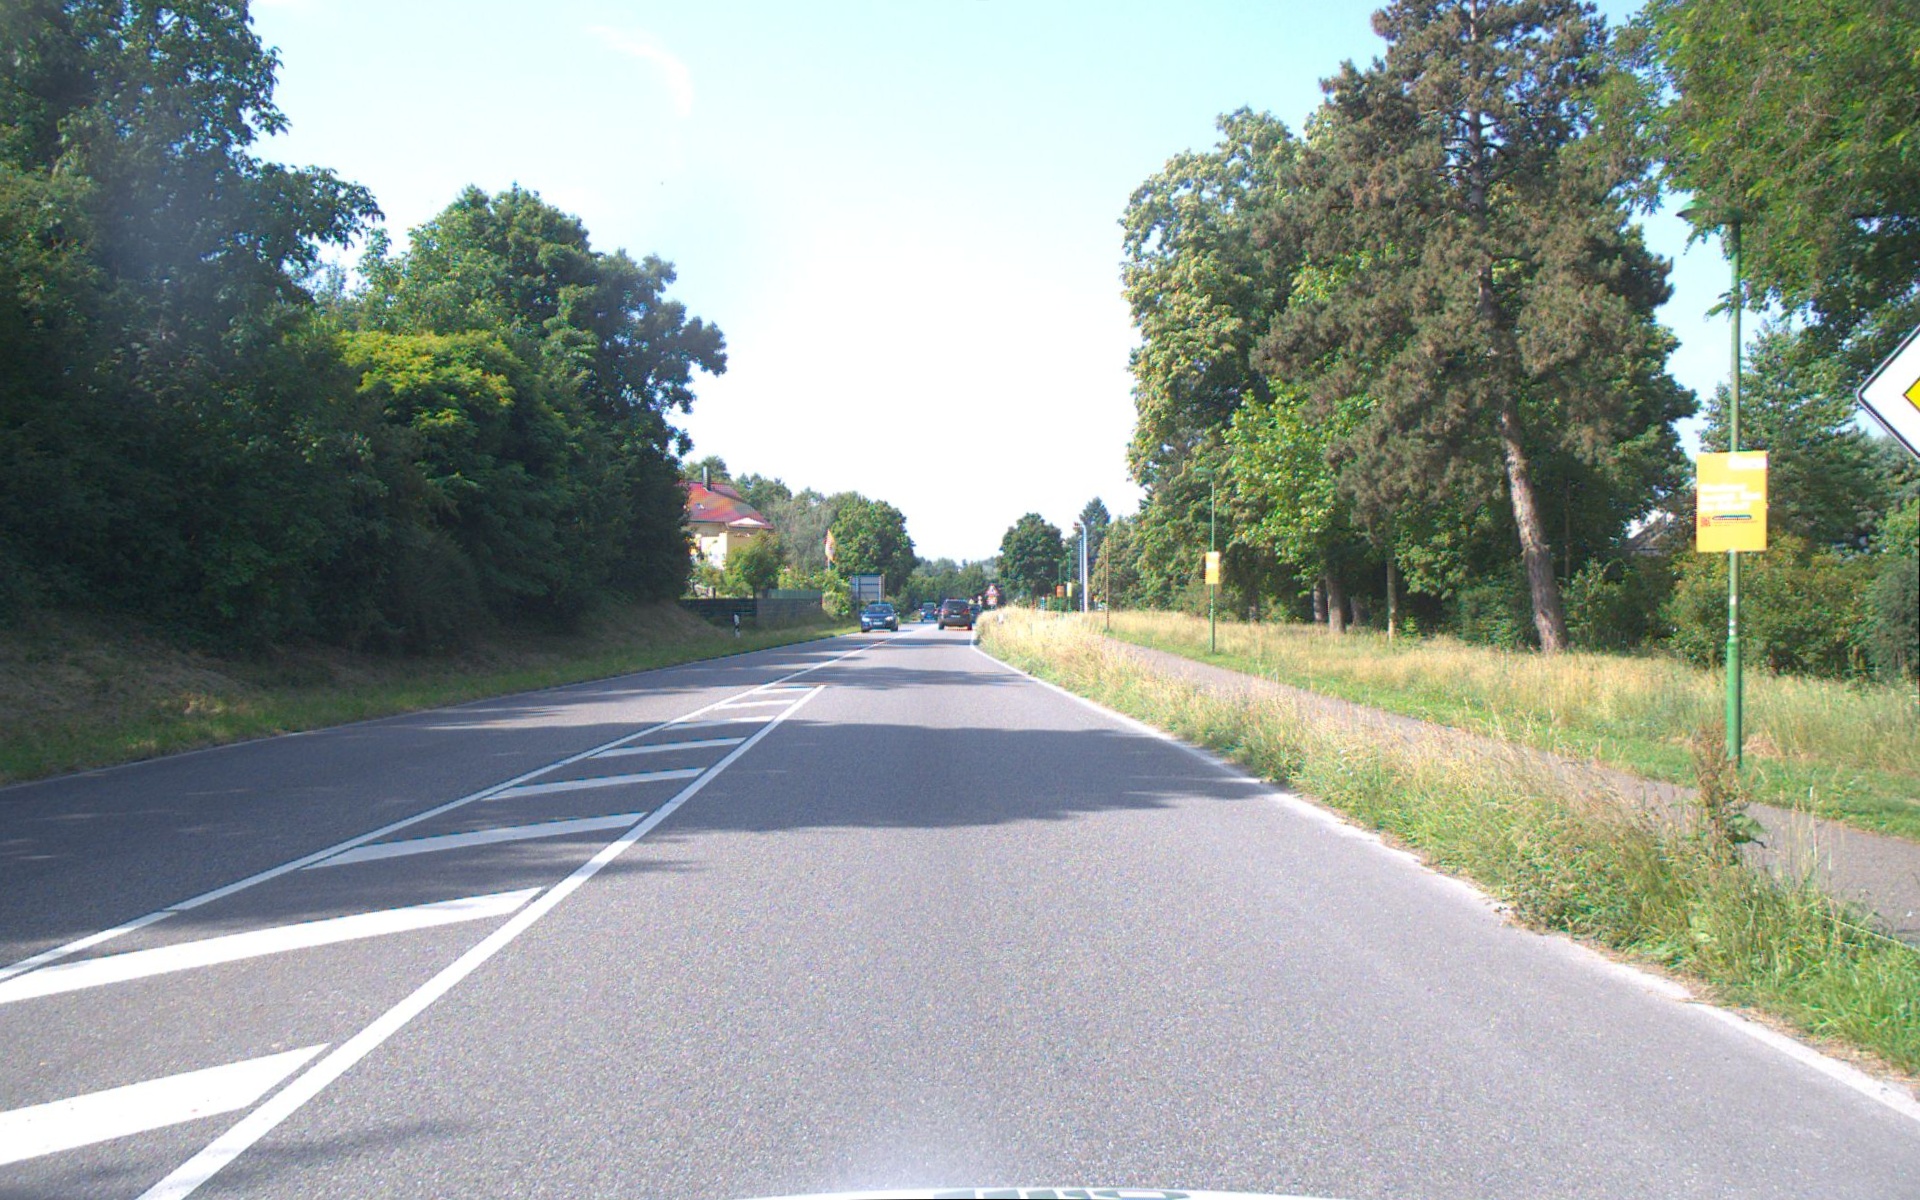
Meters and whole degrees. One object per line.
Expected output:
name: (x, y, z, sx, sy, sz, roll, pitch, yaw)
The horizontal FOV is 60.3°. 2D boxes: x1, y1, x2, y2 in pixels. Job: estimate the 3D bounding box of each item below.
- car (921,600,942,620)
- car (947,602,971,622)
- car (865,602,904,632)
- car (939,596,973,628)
car: (-2.878, 0.997, 165.464, 1.901, 1.849, 4.239, -2, 0, -3)
car: (-0.102, 0.915, 129.336, 1.701, 1.542, 3.912, 0, 0, -3)
car: (-3.969, 0.861, 87.342, 1.832, 1.448, 4.576, -2, 0, 0)
car: (-0.247, 0.677, 94.680, 1.886, 1.802, 3.999, 0, 0, -2)
